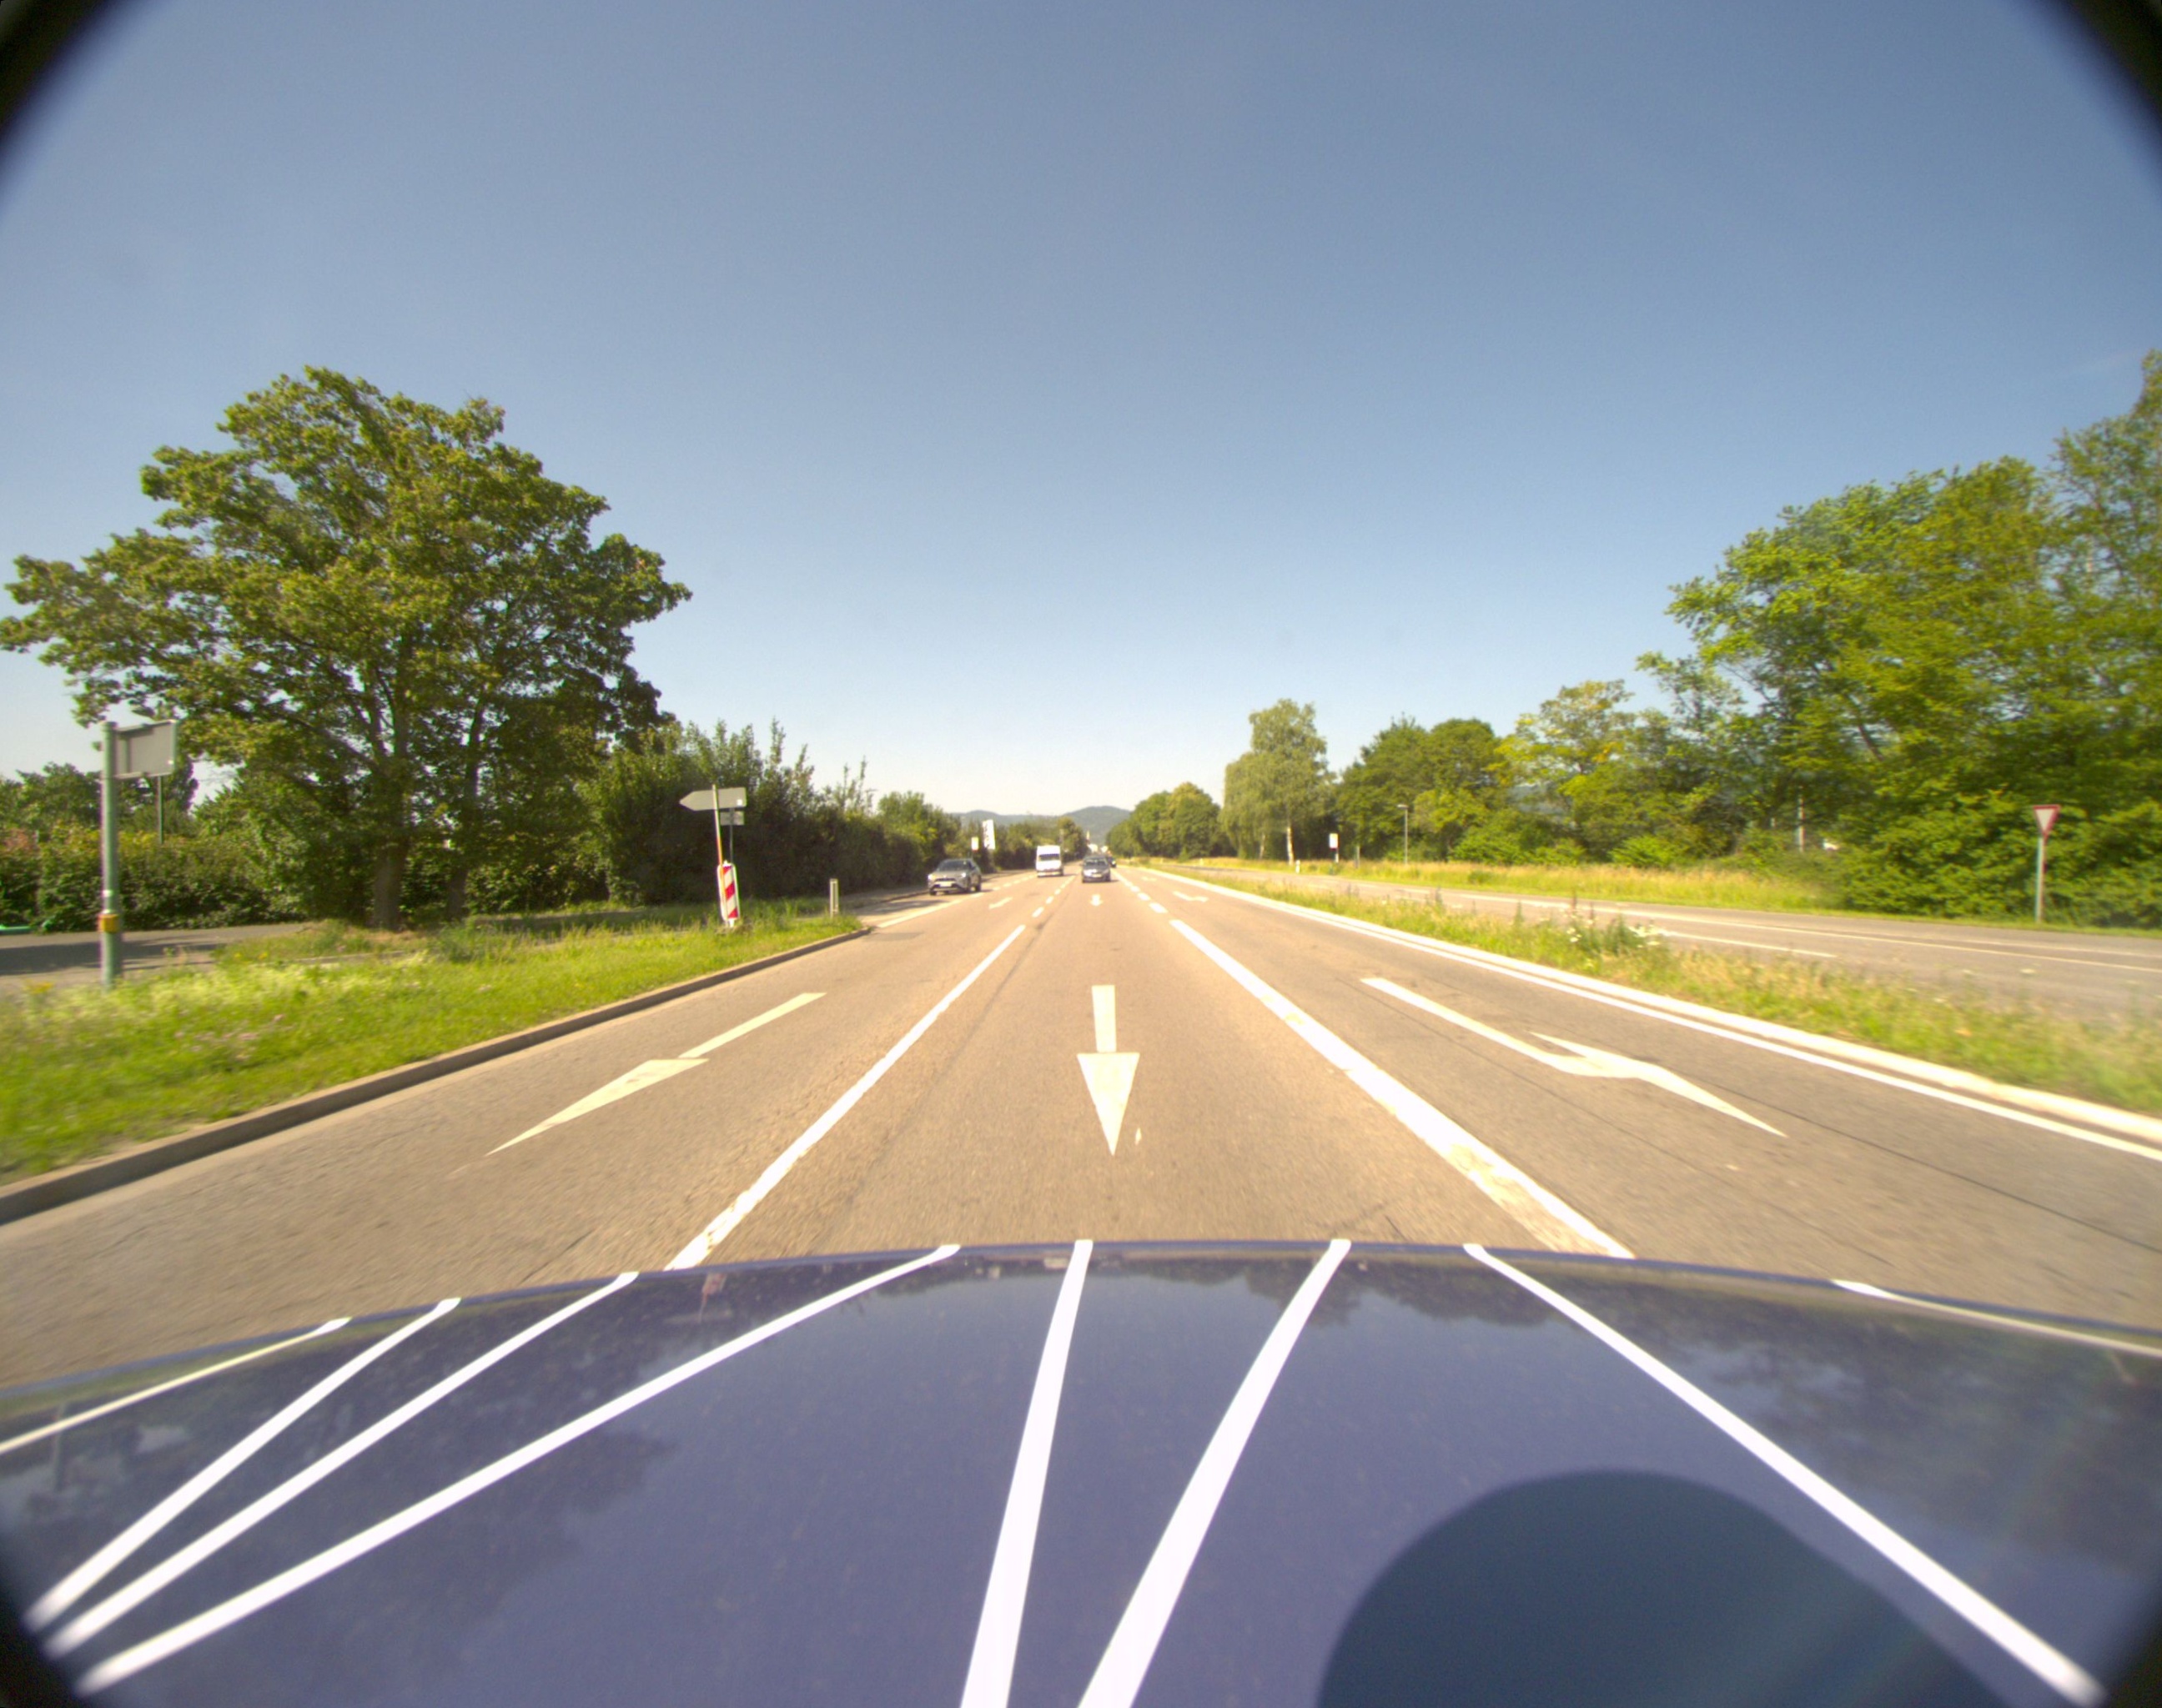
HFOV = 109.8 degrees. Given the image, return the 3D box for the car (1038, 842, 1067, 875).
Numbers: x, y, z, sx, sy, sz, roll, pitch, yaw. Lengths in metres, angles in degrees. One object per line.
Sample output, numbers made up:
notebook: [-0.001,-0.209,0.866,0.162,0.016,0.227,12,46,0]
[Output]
car: [-2.249,0.323,61.303,1.998,2.433,5.088,-2,1,1]

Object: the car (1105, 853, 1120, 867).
car: [3.675,0.680,88.839,1.678,1.435,3.622,-2,1,1]

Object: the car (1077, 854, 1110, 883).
car: [0.716,0.787,42.328,1.678,1.435,4.361,-2,1,1]

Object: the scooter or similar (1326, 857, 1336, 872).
scooter or similar: [20.220,0.813,61.371,0.369,1.179,1.340,1,1,1]

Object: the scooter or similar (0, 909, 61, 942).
scooter or similar: [-25.001,1.676,17.886,1.123,0.722,0.435,0,1,-18]

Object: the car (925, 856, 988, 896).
car: [-5.917,0.998,36.715,1.906,1.670,4.684,-3,0,4]
